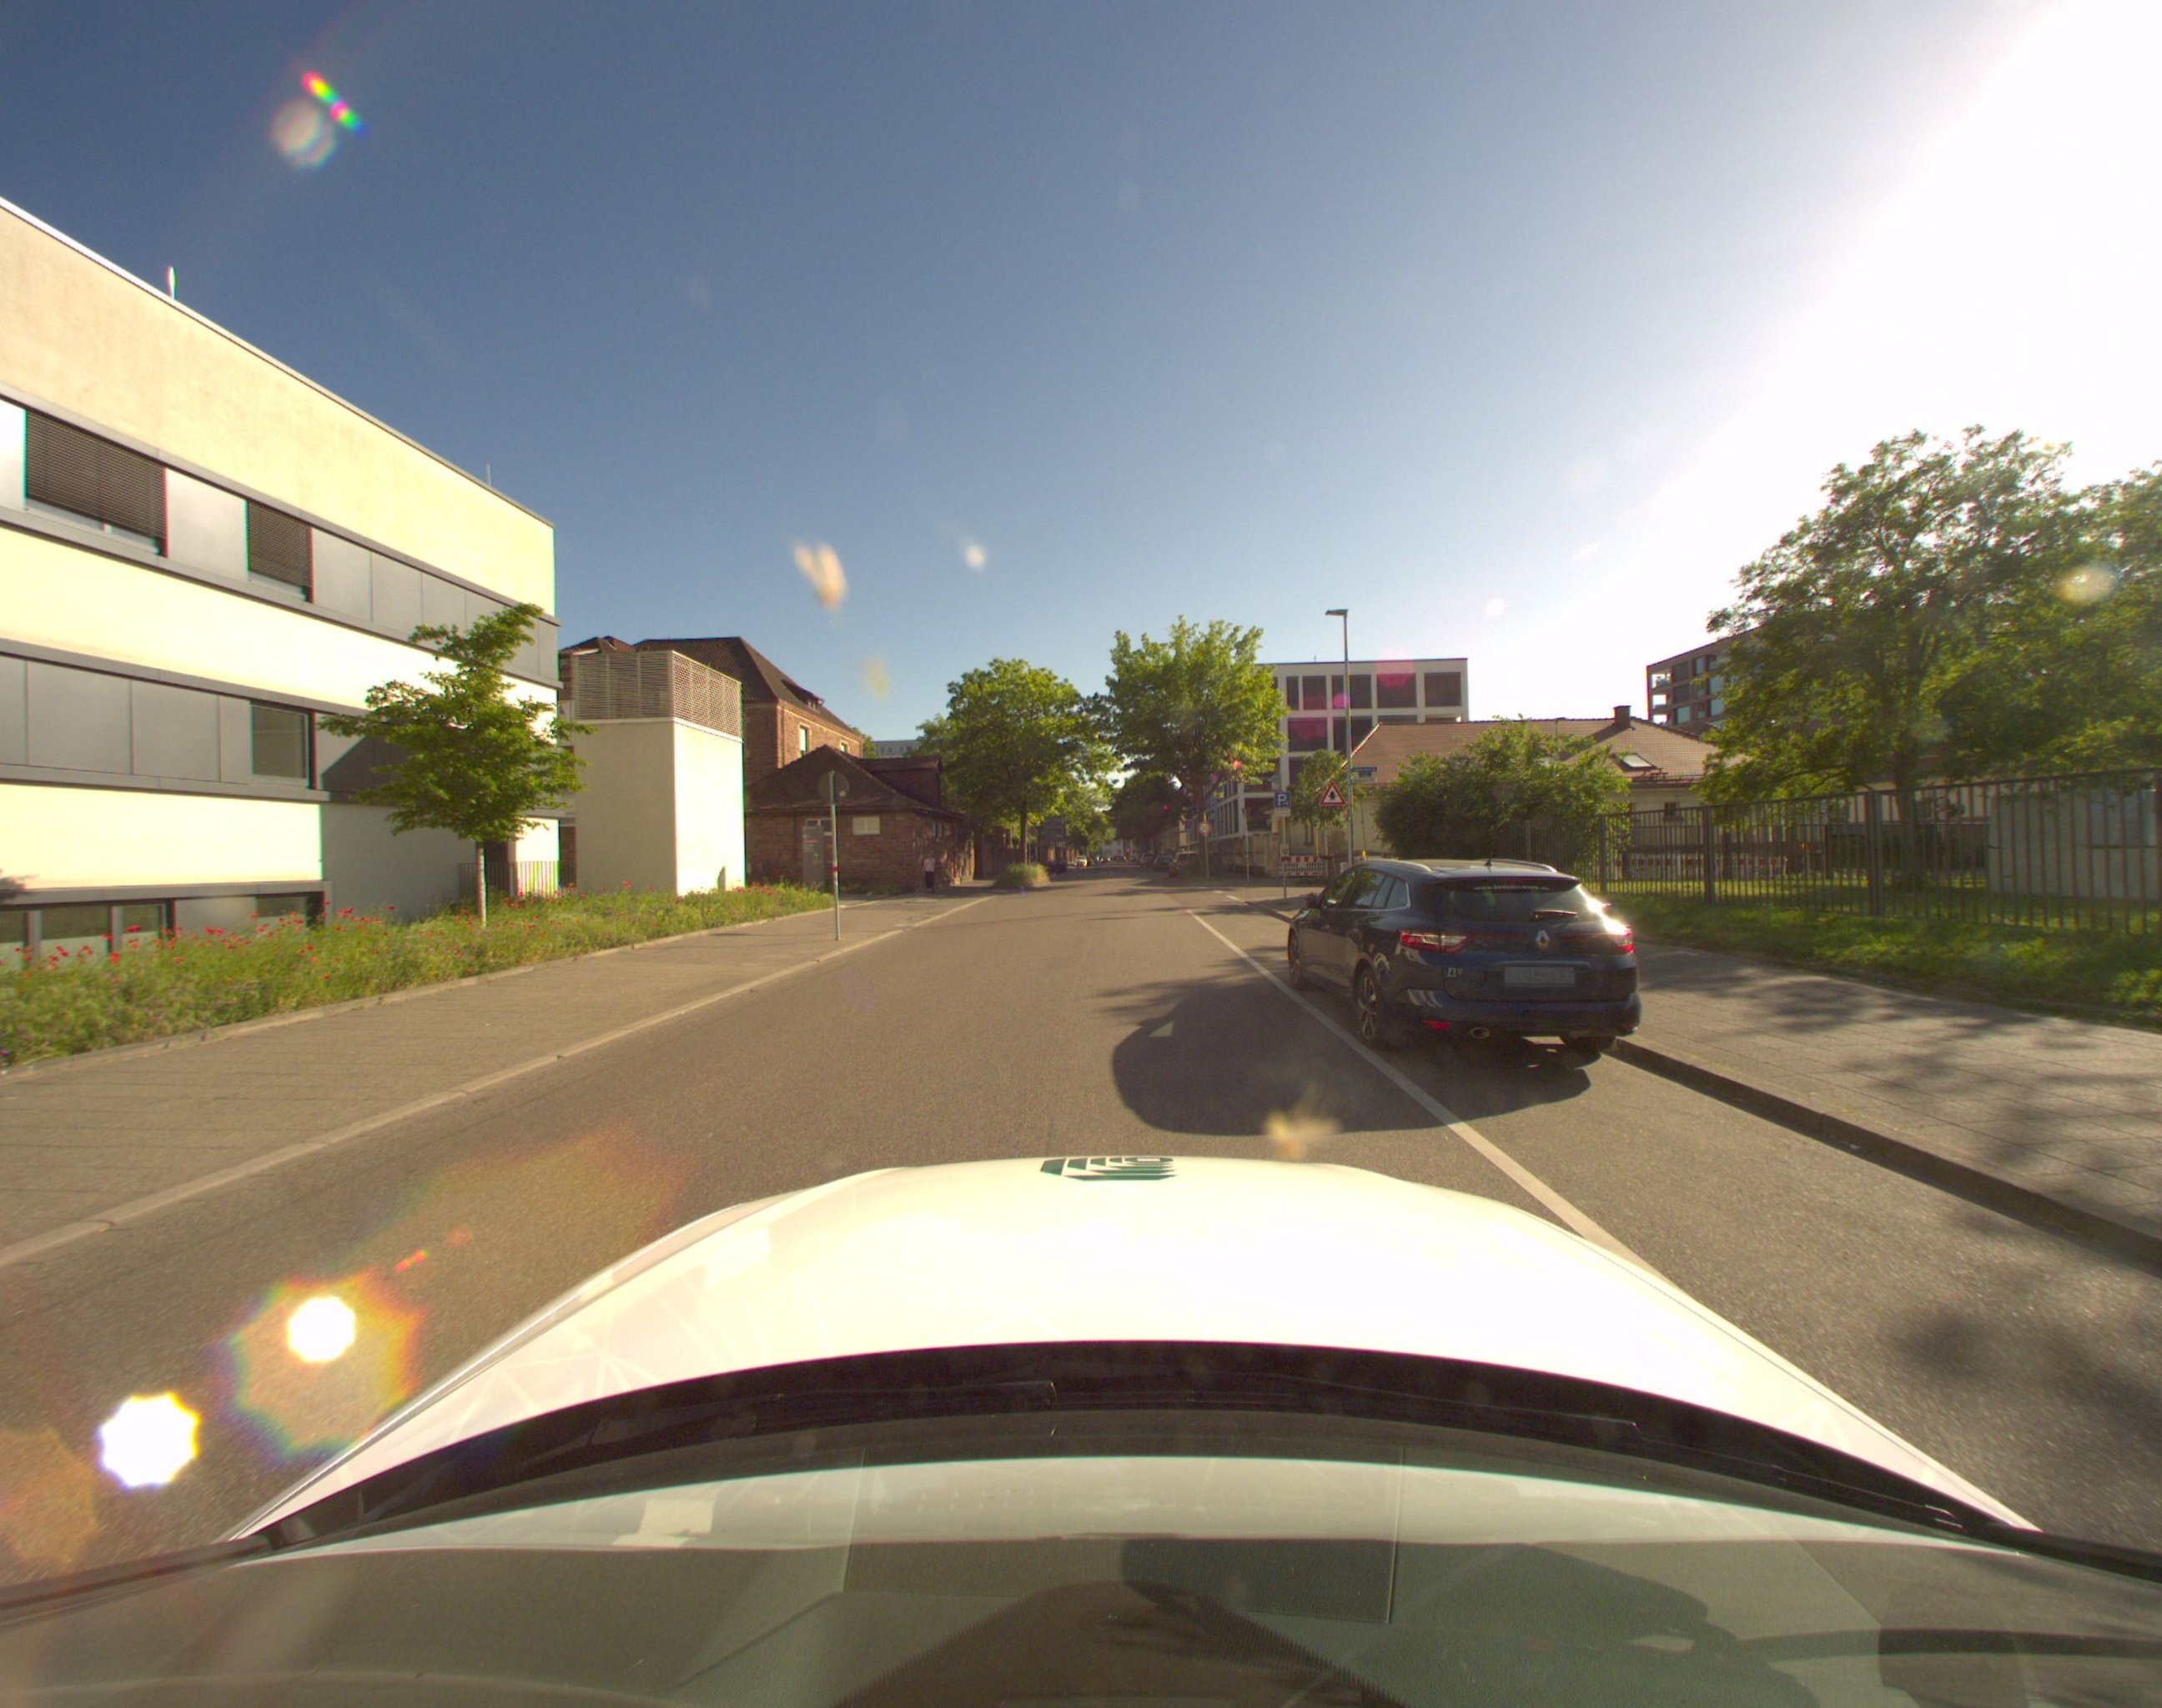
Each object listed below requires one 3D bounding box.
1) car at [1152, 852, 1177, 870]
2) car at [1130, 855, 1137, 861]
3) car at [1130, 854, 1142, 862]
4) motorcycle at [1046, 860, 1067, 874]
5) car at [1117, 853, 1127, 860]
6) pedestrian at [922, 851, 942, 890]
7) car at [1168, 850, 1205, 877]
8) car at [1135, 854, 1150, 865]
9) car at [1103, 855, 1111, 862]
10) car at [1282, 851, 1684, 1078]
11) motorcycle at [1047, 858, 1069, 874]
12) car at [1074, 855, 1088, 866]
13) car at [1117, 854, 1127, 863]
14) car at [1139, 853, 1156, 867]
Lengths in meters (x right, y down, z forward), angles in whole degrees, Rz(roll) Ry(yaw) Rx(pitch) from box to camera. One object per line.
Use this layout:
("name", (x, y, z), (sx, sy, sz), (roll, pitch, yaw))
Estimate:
("car", (6.993, 0.568, 68.342), (1.761, 1.440, 4.001), (-2, 0, 1))
("car", (11.521, 0.863, 178.304), (1.579, 1.400, 3.839), (-1, 0, 3))
("car", (9.762, 0.704, 145.111), (1.985, 1.425, 3.839), (-1, 0, 3))
("motorcycle", (-2.000, 1.040, 66.637), (0.570, 1.074, 2.135), (-2, 0, 35))
("car", (7.957, 0.448, 157.319), (1.881, 1.400, 3.840), (-1, 0, 3))
("pedestrian", (-5.998, 0.648, 32.823), (0.519, 1.562, 1.096), (-1, 0, 2))
("car", (6.055, 0.534, 47.122), (1.696, 1.468, 4.791), (-1, 0, 2))
("car", (8.555, 0.738, 112.689), (1.985, 1.465, 3.839), (-1, 0, 3))
("car", (5.296, 0.911, 164.432), (1.647, 1.530, 4.002), (-1, 0, 2))
("car", (3.137, 0.710, 7.434), (1.810, 1.453, 4.218), (0, 0, 3))
("motorcycle", (-1.846, 0.946, 65.333), (0.570, 1.276, 2.135), (-2, 0, 35))
("car", (0.001, 0.889, 109.728), (1.761, 1.487, 4.001), (-2, 0, 1))
("car", (7.729, 0.887, 154.952), (1.760, 1.548, 4.067), (-2, 0, 1))
("car", (7.903, 0.652, 96.955), (1.942, 1.578, 3.839), (-1, 0, 3))
